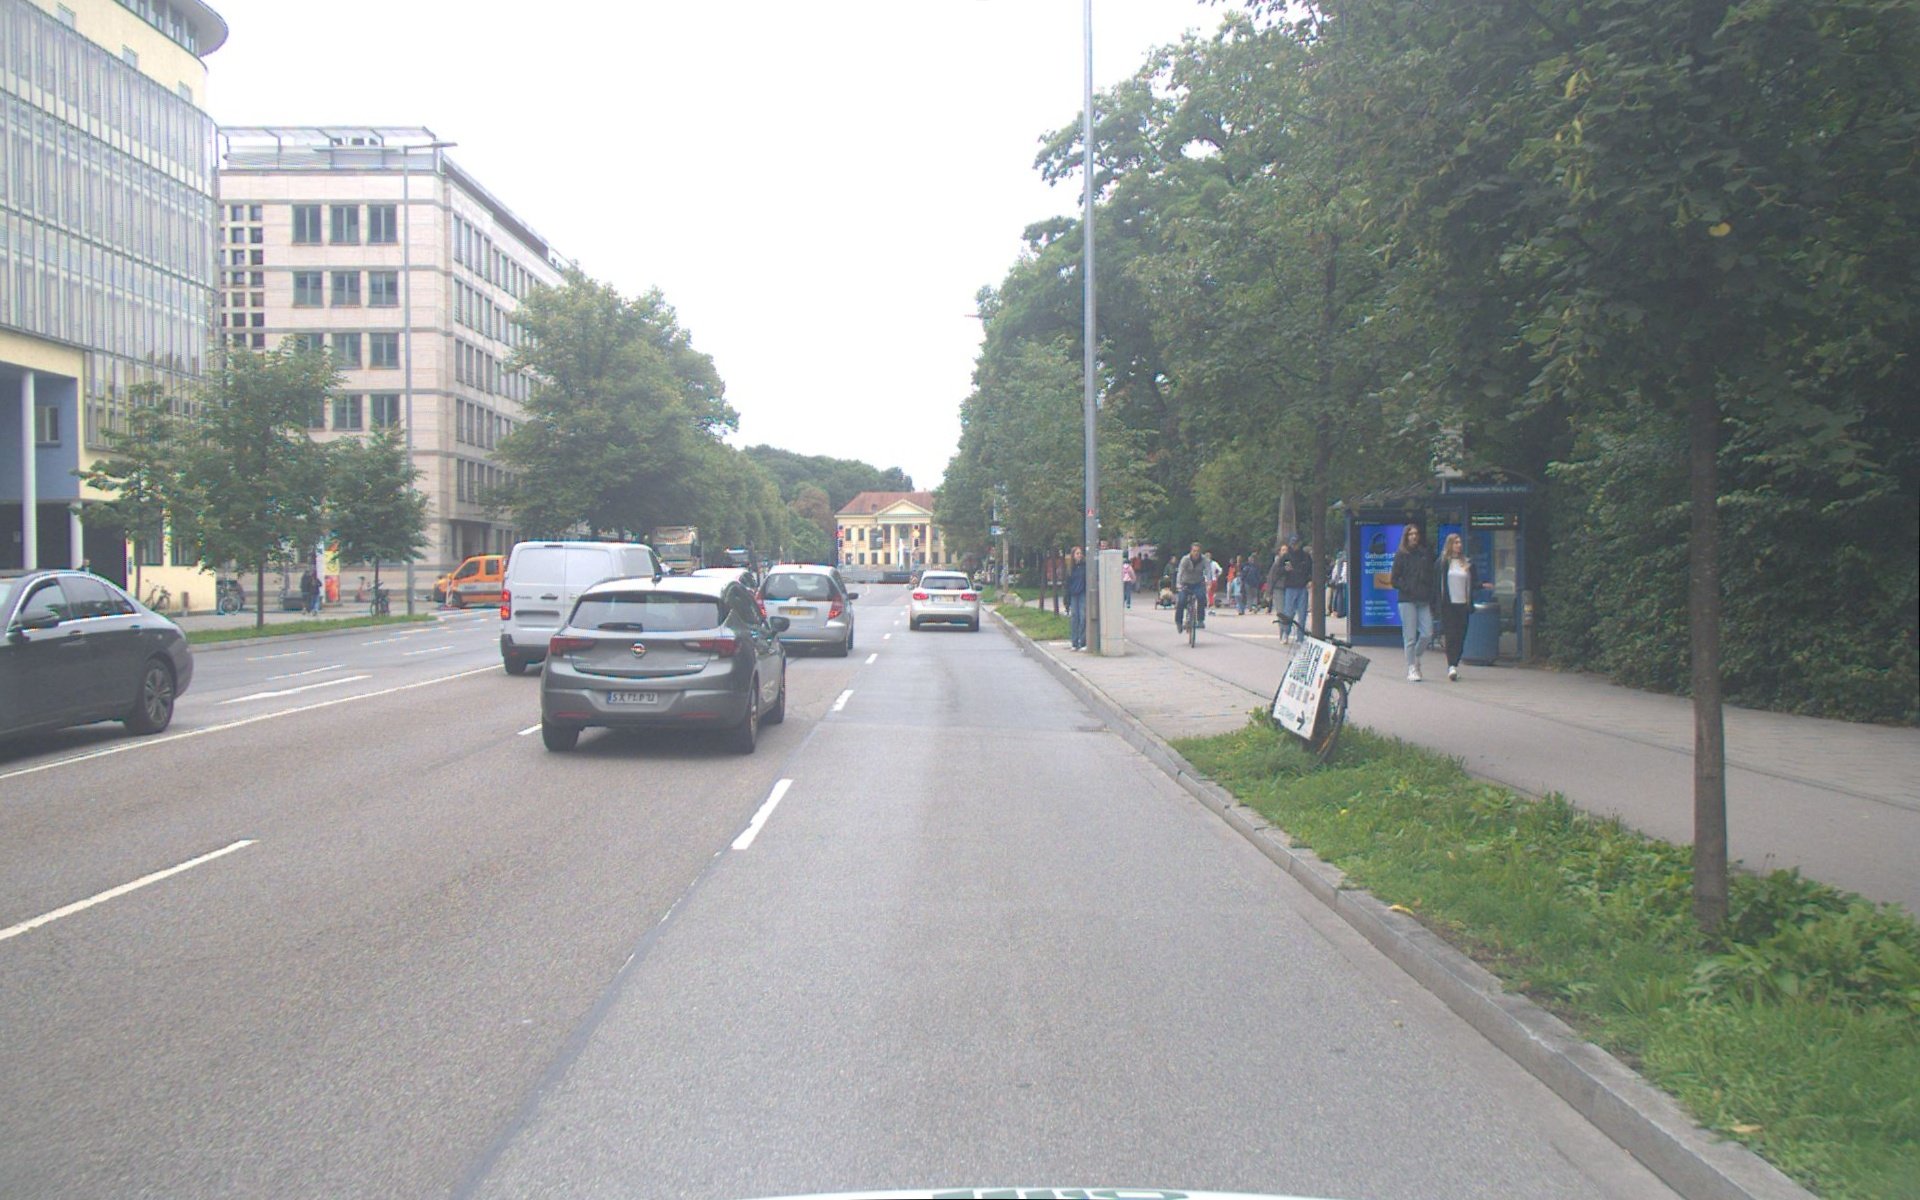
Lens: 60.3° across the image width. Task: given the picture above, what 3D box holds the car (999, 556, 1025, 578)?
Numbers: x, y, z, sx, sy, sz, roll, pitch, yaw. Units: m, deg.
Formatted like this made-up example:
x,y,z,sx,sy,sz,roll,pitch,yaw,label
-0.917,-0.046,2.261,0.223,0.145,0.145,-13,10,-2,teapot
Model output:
x,y,z,sx,sy,sz,roll,pitch,yaw,label
3.927,-2.488,125.034,1.790,1.576,4.752,-1,1,0,car

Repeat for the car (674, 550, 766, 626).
x,y,z,sx,sy,sz,roll,pitch,yaw,label
-5.674,-0.321,39.471,1.743,1.683,3.999,1,1,-2,car

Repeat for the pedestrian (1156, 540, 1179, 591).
x,y,z,sx,sy,sz,roll,pitch,yaw,label
6.970,-1.161,55.569,0.711,1.720,0.648,1,1,4,pedestrian

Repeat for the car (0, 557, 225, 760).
x,y,z,sx,sy,sz,roll,pitch,yaw,label
-7.744,0.413,13.055,1.731,1.448,4.747,-2,1,0,car

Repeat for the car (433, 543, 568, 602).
x,y,z,sx,sy,sz,roll,pitch,yaw,label
-20.791,-1.256,75.035,5.569,2.580,2.155,-1,1,-5,car

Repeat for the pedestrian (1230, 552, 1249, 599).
x,y,z,sx,sy,sz,roll,pitch,yaw,label
8.069,-0.701,47.776,0.448,1.349,0.648,1,1,4,pedestrian

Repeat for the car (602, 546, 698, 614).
x,y,z,sx,sy,sz,roll,pitch,yaw,label
-8.762,-0.616,47.098,1.819,1.779,4.630,-2,2,0,car

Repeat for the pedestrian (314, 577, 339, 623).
x,y,z,sx,sy,sz,roll,pitch,yaw,label
-25.663,-0.004,66.968,0.668,1.806,0.784,1,1,3,pedestrian

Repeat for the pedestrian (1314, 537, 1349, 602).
x,y,z,sx,sy,sz,roll,pitch,yaw,label
10.268,-0.855,45.732,0.795,1.769,0.729,1,1,1,pedestrian

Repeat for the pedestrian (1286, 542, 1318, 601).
x,y,z,sx,sy,sz,roll,pitch,yaw,label
10.144,-0.857,49.082,0.795,1.720,0.729,-1,1,2,pedestrian

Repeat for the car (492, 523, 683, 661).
x,y,z,sx,sy,sz,roll,pitch,yaw,label
-5.498,-0.157,25.048,1.860,1.879,4.955,0,1,-1,car

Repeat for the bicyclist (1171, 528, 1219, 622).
x,y,z,sx,sy,sz,roll,pitch,yaw,label
4.028,-0.432,28.350,0.693,1.589,0.639,1,1,-1,bicyclist

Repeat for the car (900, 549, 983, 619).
x,y,z,sx,sy,sz,roll,pitch,yaw,label
-0.526,-0.441,42.184,1.745,1.673,3.996,1,1,-6,car

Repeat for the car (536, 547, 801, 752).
x,y,z,sx,sy,sz,roll,pitch,yaw,label
-2.485,0.343,15.022,1.675,1.579,4.000,1,1,0,car

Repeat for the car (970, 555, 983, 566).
x,y,z,sx,sy,sz,roll,pitch,yaw,label
2.078,-5.003,209.797,1.689,1.347,4.028,-1,2,0,car

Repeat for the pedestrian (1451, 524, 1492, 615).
x,y,z,sx,sy,sz,roll,pitch,yaw,label
10.272,-0.619,33.231,0.623,1.798,0.533,1,1,1,pedestrian

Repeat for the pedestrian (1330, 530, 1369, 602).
x,y,z,sx,sy,sz,roll,pitch,yaw,label
10.057,-0.882,42.722,0.795,1.821,0.729,1,1,1,pedestrian

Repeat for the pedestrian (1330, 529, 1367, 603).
x,y,z,sx,sy,sz,roll,pitch,yaw,label
10.208,-0.893,43.467,0.795,1.907,0.729,1,1,1,pedestrian

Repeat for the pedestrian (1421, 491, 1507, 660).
x,y,z,sx,sy,sz,roll,pitch,yaw,label
6.003,-0.296,19.742,0.693,1.948,0.956,1,1,-1,pedestrian

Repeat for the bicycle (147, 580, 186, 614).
x,y,z,sx,sy,sz,roll,pitch,yaw,label
-25.040,-0.104,52.200,0.561,1.030,1.592,1,1,-4,bicycle

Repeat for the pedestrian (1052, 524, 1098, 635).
x,y,z,sx,sy,sz,roll,pitch,yaw,label
1.945,-0.350,27.941,0.693,1.840,0.639,1,1,-1,pedestrian

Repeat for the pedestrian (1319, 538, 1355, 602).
x,y,z,sx,sy,sz,roll,pitch,yaw,label
10.254,-0.827,44.997,0.795,1.720,0.729,1,1,1,pedestrian

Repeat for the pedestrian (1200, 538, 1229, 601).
x,y,z,sx,sy,sz,roll,pitch,yaw,label
7.143,-0.857,46.392,0.711,1.720,0.648,1,1,4,pedestrian

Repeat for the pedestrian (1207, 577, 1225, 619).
x,y,z,sx,sy,sz,roll,pitch,yaw,label
10.359,-0.076,66.890,0.618,1.696,0.573,1,1,14,pedestrian

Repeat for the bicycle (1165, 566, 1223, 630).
x,y,z,sx,sy,sz,roll,pitch,yaw,label
4.009,-0.055,28.419,0.661,1.048,2.012,1,1,-1,bicycle

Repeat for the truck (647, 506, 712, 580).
x,y,z,sx,sy,sz,roll,pitch,yaw,label
-15.333,-3.084,90.940,2.859,3.840,7.659,1,1,-5,truck

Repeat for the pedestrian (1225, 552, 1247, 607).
x,y,z,sx,sy,sz,roll,pitch,yaw,label
7.942,-0.592,47.626,0.538,1.554,0.648,1,1,4,pedestrian

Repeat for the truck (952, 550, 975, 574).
x,y,z,sx,sy,sz,roll,pitch,yaw,label
0.432,-5.731,246.842,3.258,3.425,8.662,1,1,-1,truck

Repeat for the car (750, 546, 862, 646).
x,y,z,sx,sy,sz,roll,pitch,yaw,label
-2.749,-0.114,30.331,1.743,1.683,3.999,1,1,-1,car

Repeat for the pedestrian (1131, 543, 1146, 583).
x,y,z,sx,sy,sz,roll,pitch,yaw,label
8.279,-1.720,76.563,0.576,1.854,0.850,1,1,0,pedestrian

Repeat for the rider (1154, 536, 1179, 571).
x,y,z,sx,sy,sz,roll,pitch,yaw,label
6.789,-1.534,54.396,0.749,1.131,1.245,1,1,4,rider

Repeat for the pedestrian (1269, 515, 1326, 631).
x,y,z,sx,sy,sz,roll,pitch,yaw,label
5.492,-0.439,26.977,0.693,1.840,0.950,1,1,-1,pedestrian

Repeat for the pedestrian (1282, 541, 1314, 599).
x,y,z,sx,sy,sz,roll,pitch,yaw,label
10.230,-0.908,50.066,0.795,1.720,0.729,1,1,1,pedestrian

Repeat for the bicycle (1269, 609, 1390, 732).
x,y,z,sx,sy,sz,roll,pitch,yaw,label
2.804,0.507,12.708,0.483,0.808,1.889,1,1,-1,bicycle

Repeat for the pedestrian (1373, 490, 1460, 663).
x,y,z,sx,sy,sz,roll,pitch,yaw,label
5.286,-0.280,19.194,0.693,1.948,0.956,1,1,-1,pedestrian

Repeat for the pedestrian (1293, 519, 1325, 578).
x,y,z,sx,sy,sz,roll,pitch,yaw,label
10.188,-1.496,48.280,0.795,1.720,0.729,0,1,2,pedestrian

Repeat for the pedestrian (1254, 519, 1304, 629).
x,y,z,sx,sy,sz,roll,pitch,yaw,label
5.420,-0.448,28.111,0.693,1.840,0.639,1,1,-1,pedestrian

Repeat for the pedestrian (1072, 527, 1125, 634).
x,y,z,sx,sy,sz,roll,pitch,yaw,label
2.538,-0.363,30.304,0.790,1.913,0.542,2,1,35,pedestrian

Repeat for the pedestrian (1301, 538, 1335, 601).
x,y,z,sx,sy,sz,roll,pitch,yaw,label
10.066,-0.855,46.531,0.795,1.720,0.729,-1,1,2,pedestrian

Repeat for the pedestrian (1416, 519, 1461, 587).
x,y,z,sx,sy,sz,roll,pitch,yaw,label
10.997,-1.078,38.014,0.795,1.533,0.729,1,1,1,pedestrian

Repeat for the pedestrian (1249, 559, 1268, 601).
x,y,z,sx,sy,sz,roll,pitch,yaw,label
8.541,-0.569,47.346,0.448,1.173,0.648,1,1,4,pedestrian

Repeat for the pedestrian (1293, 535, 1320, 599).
x,y,z,sx,sy,sz,roll,pitch,yaw,label
9.537,-0.911,45.492,0.579,1.720,0.729,1,1,2,pedestrian

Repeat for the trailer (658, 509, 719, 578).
x,y,z,sx,sy,sz,roll,pitch,yaw,label
-16.060,-3.301,98.407,2.893,3.805,11.756,1,1,-6,trailer

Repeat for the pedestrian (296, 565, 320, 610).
x,y,z,sx,sy,sz,roll,pitch,yaw,label
-26.383,-0.523,66.948,0.668,1.806,0.675,1,1,3,pedestrian
